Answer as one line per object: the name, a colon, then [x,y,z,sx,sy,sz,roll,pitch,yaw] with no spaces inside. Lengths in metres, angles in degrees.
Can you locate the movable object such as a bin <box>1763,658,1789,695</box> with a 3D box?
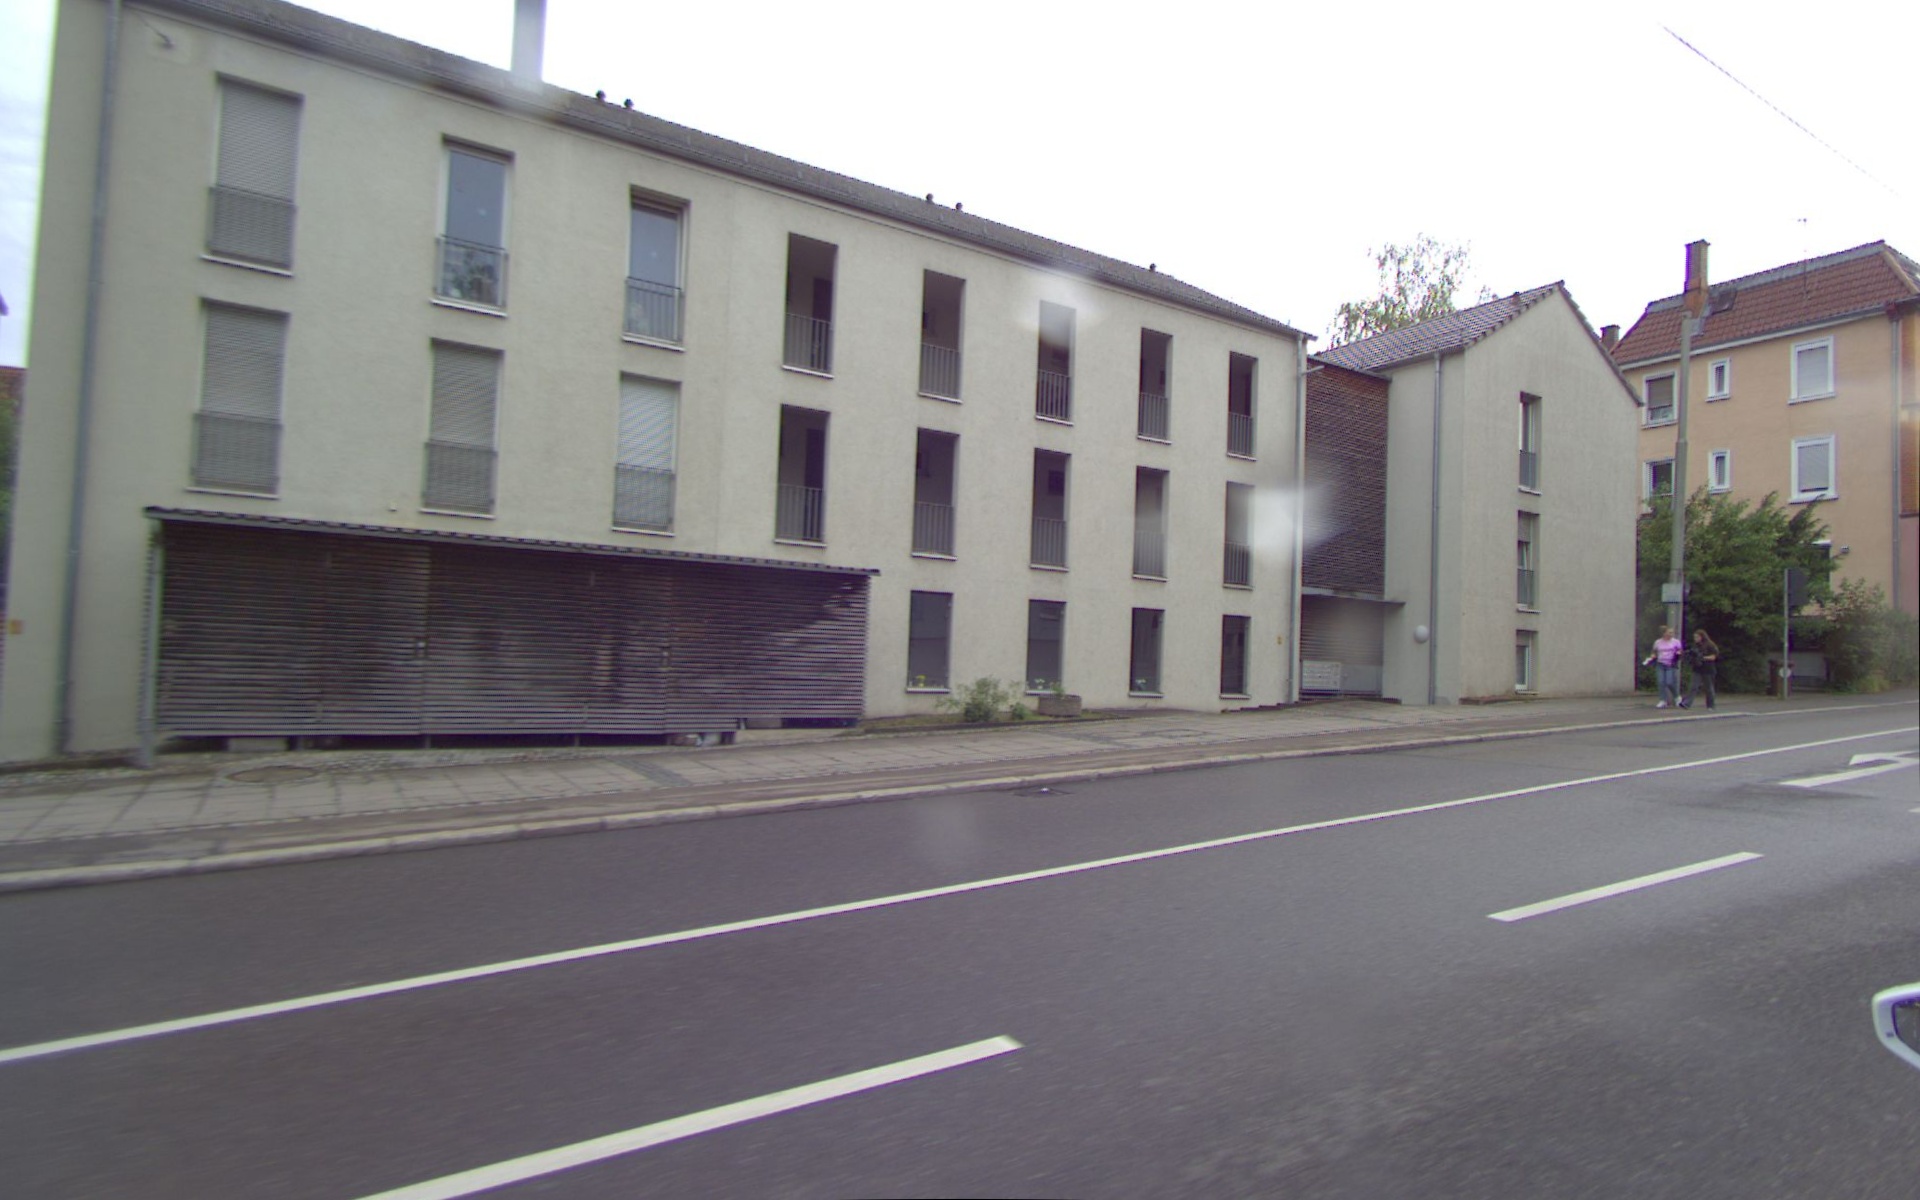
movable object such as a bin: [21.384,1.994,26.315,0.521,0.937,0.406,2,-1,-37]

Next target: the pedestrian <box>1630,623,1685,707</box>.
pedestrian: [14.794,1.371,21.296,0.900,1.729,0.637,1,-1,-30]

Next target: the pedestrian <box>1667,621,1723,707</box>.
pedestrian: [15.147,1.302,20.701,0.900,1.729,0.637,1,-1,-30]
